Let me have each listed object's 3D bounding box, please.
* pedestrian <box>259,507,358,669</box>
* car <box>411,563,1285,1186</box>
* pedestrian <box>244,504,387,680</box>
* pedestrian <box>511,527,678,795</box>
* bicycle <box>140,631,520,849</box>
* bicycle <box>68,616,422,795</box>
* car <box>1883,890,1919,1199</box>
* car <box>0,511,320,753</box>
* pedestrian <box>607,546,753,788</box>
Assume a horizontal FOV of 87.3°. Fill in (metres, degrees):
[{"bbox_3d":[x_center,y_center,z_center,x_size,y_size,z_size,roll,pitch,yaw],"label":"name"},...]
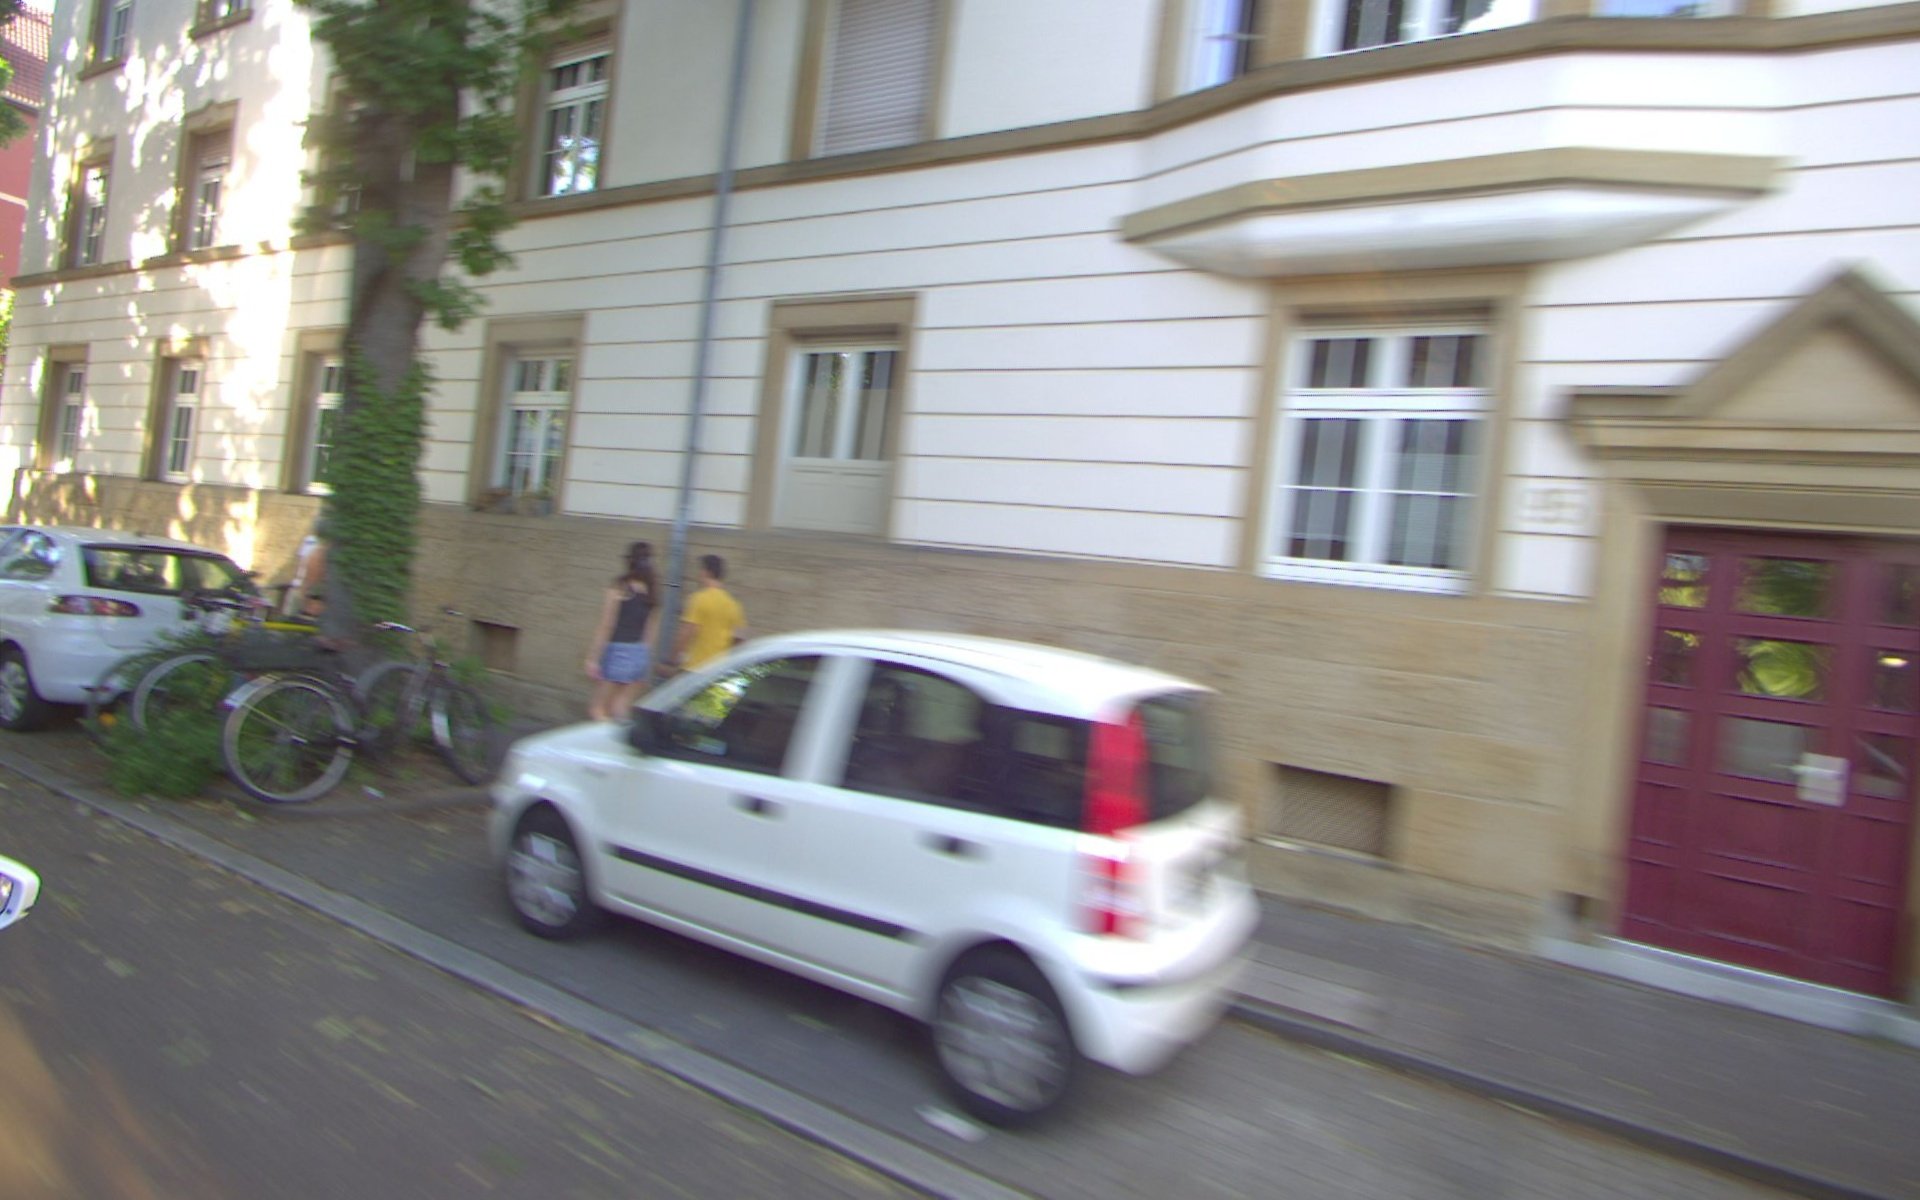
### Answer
[{"bbox_3d":[-7.362,-0.136,11.373,0.744,1.726,0.490,7,0,29],"label":"pedestrian"},{"bbox_3d":[-0.593,0.823,4.445,3.484,1.529,1.523,7,-1,30],"label":"car"},{"bbox_3d":[-6.764,-0.072,10.577,0.859,1.715,0.780,7,0,27],"label":"pedestrian"},{"bbox_3d":[-2.610,0.416,7.178,0.863,1.756,0.520,7,0,31],"label":"pedestrian"},{"bbox_3d":[-3.679,0.809,6.062,0.596,1.051,1.774,7,-2,30],"label":"bicycle"},{"bbox_3d":[-4.678,0.672,6.719,0.721,0.961,1.718,7,0,30],"label":"bicycle"},{"bbox_3d":[4.387,1.626,1.508,4.087,1.411,1.625,6,-1,30],"label":"car"},{"bbox_3d":[-7.253,0.118,8.157,3.801,1.496,1.615,7,-1,26],"label":"car"},{"bbox_3d":[-2.144,0.499,7.729,0.677,1.722,0.596,7,0,31],"label":"pedestrian"}]
